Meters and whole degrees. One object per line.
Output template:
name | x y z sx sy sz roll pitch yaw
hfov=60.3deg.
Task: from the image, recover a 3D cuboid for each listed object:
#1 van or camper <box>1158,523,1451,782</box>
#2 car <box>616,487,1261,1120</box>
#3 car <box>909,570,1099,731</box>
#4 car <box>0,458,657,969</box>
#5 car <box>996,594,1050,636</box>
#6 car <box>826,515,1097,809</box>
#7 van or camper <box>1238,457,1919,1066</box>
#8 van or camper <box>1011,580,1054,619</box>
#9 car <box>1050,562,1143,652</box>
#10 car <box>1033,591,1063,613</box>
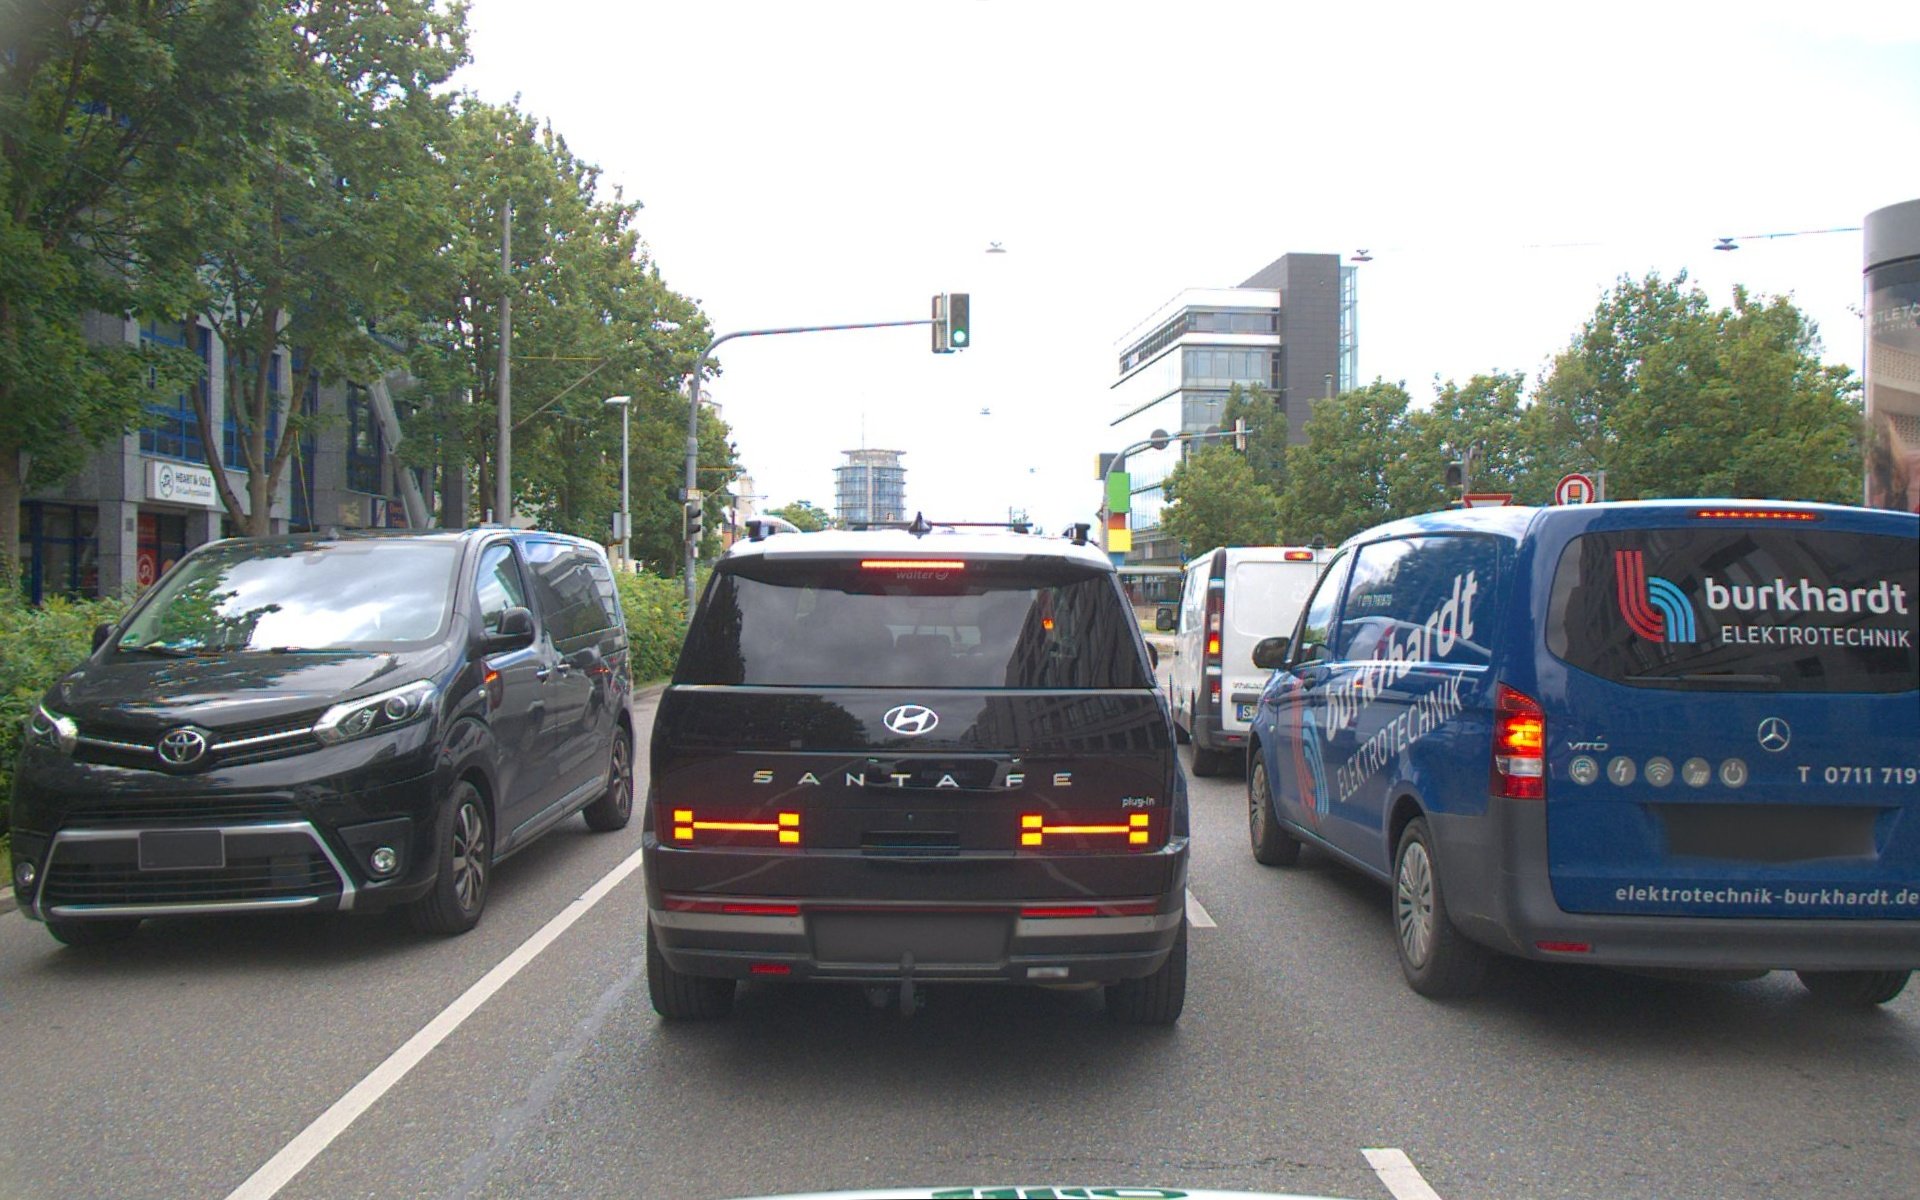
van or camper | 3.041 0.412 15.599 1.952 2.049 4.654 1 0 2
car | -0.082 0.567 6.639 1.831 1.791 3.879 0 0 -1
car | 0.658 0.565 20.385 1.738 1.747 4.342 1 0 9
car | -3.030 0.462 8.918 1.953 1.982 4.735 -1 0 -1
car | 2.549 0.591 67.552 1.953 1.646 3.999 1 0 -1
car | -0.017 0.420 13.434 1.876 2.038 3.879 0 0 -1
van or camper | 2.678 0.505 7.825 1.822 1.944 5.031 0 0 -1
van or camper | 5.036 -0.006 113.788 1.951 2.591 6.583 0 0 12
car | 3.261 0.179 40.235 1.952 2.049 4.000 1 0 0
car | 7.022 0.190 131.915 1.954 1.713 3.997 1 0 -3
